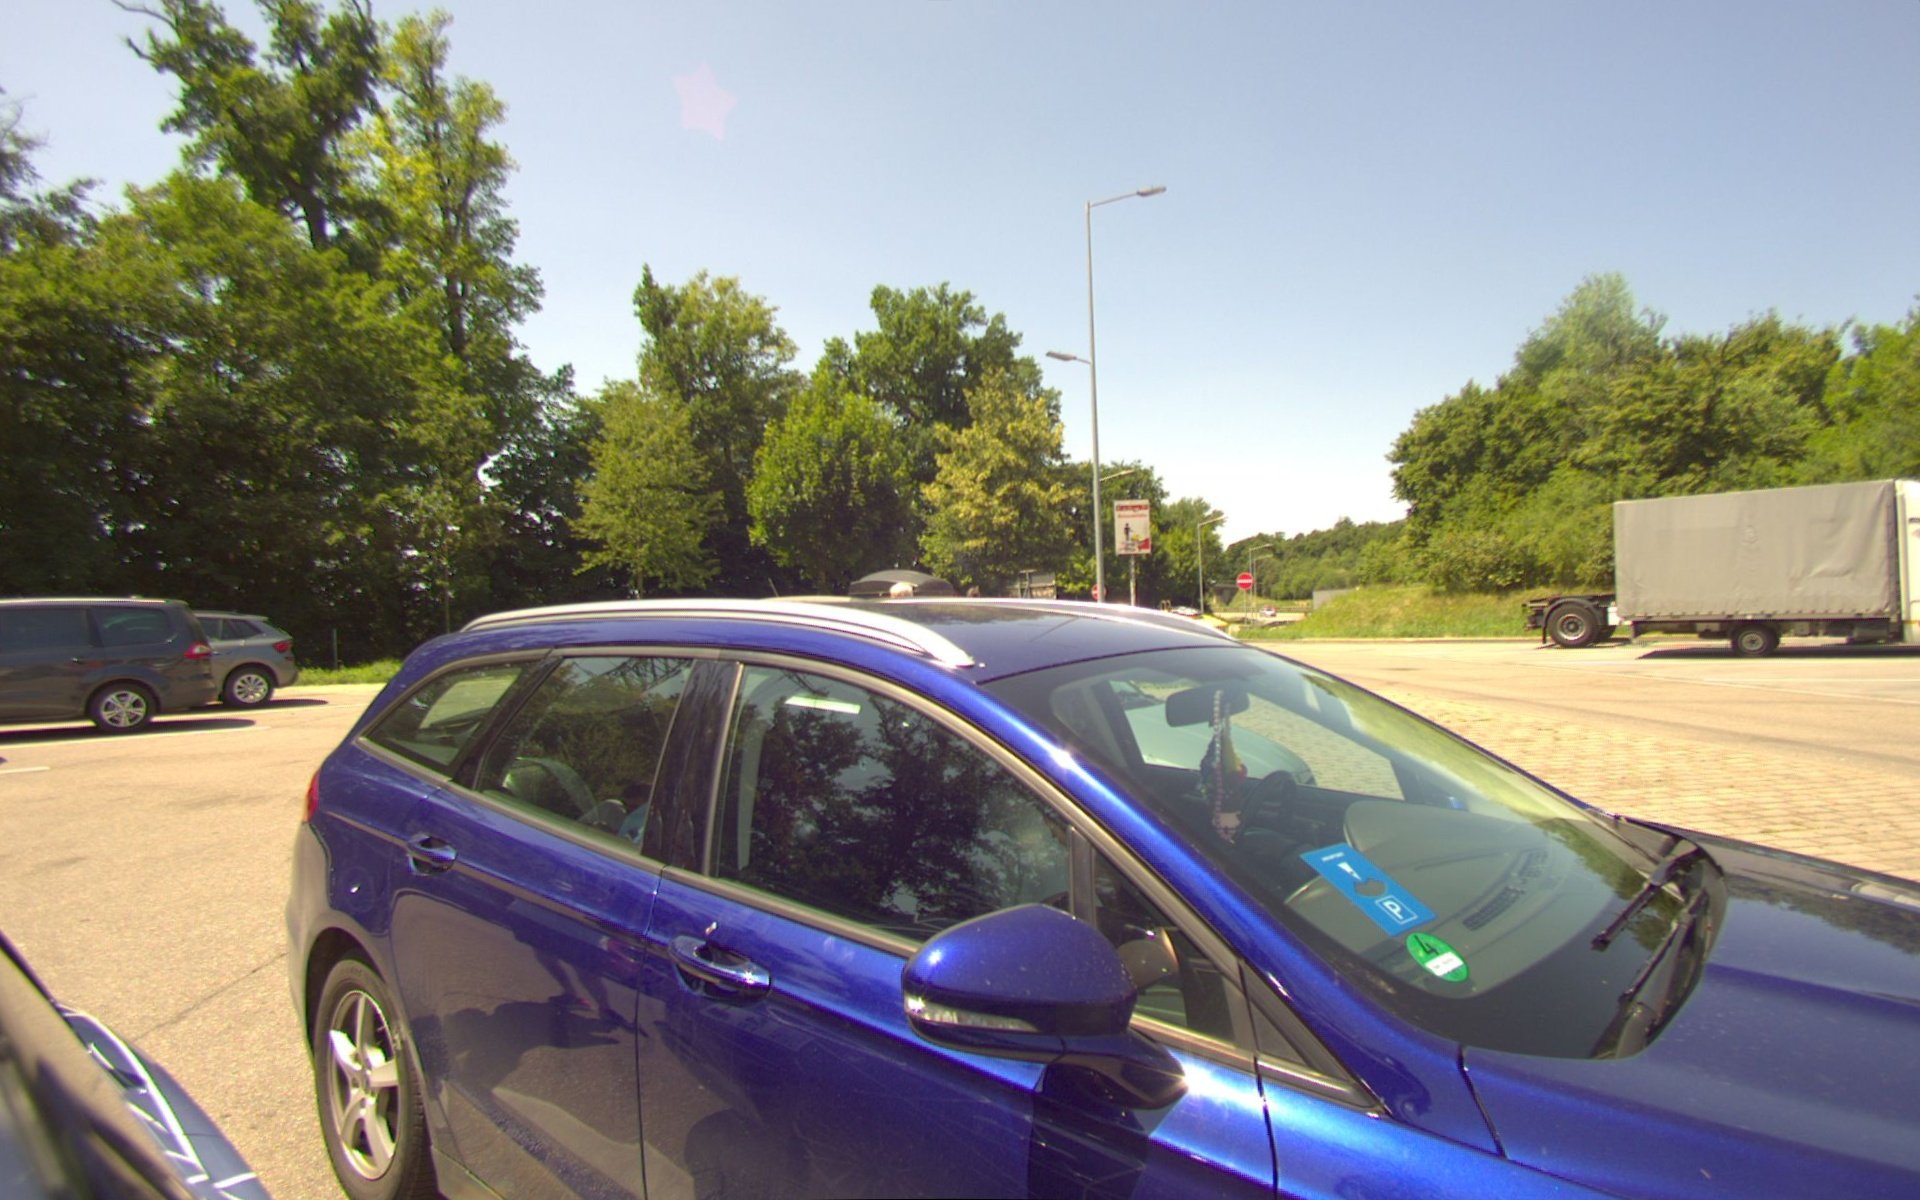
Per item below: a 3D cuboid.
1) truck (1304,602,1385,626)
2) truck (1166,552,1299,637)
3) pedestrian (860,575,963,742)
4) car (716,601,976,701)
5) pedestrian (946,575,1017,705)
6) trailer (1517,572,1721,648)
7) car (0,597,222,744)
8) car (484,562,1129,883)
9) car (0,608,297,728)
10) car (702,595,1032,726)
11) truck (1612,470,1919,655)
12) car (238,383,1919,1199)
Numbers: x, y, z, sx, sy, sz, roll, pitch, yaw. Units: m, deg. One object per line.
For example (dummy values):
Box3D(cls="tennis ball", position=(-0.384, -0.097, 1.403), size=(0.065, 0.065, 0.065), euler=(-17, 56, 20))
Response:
Box3D(cls="truck", position=(50.066, 1.877, 132.591), size=(2.513, 2.944, 16.277), euler=(-2, -1, -7))
Box3D(cls="truck", position=(12.816, -0.218, 47.620), size=(5.782, 3.720, 1.987), euler=(-2, -1, 20))
Box3D(cls="pedestrian", position=(-0.494, 0.574, 10.267), size=(0.759, 1.614, 0.663), euler=(-3, -1, 41))
Box3D(cls="car", position=(-2.023, 0.831, 17.101), size=(4.466, 1.476, 1.756), euler=(-3, -1, 40))
Box3D(cls="pedestrian", position=(0.276, 0.521, 13.408), size=(0.704, 1.662, 0.650), euler=(-1, -1, -18))
Box3D(cls="trailer", position=(15.777, 0.280, 24.342), size=(3.900, 1.674, 1.456), euler=(-2, -1, 41))
Box3D(cls="car", position=(-11.694, 0.848, 12.573), size=(3.910, 1.701, 1.782), euler=(-1, -1, -43))
Box3D(cls="car", position=(-1.274, 0.634, 6.787), size=(4.466, 1.476, 1.756), euler=(-3, -1, 40))
Box3D(cls="car", position=(-12.723, 0.973, 15.624), size=(3.910, 1.598, 1.782), euler=(-1, -1, -43))
Box3D(cls="car", position=(-1.372, 0.759, 13.547), size=(4.466, 1.476, 1.756), euler=(-3, -1, 40))
Box3D(cls="truck", position=(16.736, -0.637, 18.856), size=(7.348, 3.152, 2.339), euler=(-3, -2, 41))
Box3D(cls="car", position=(0.227, 0.630, 2.115), size=(4.466, 1.476, 1.756), euler=(-3, -1, 40))
